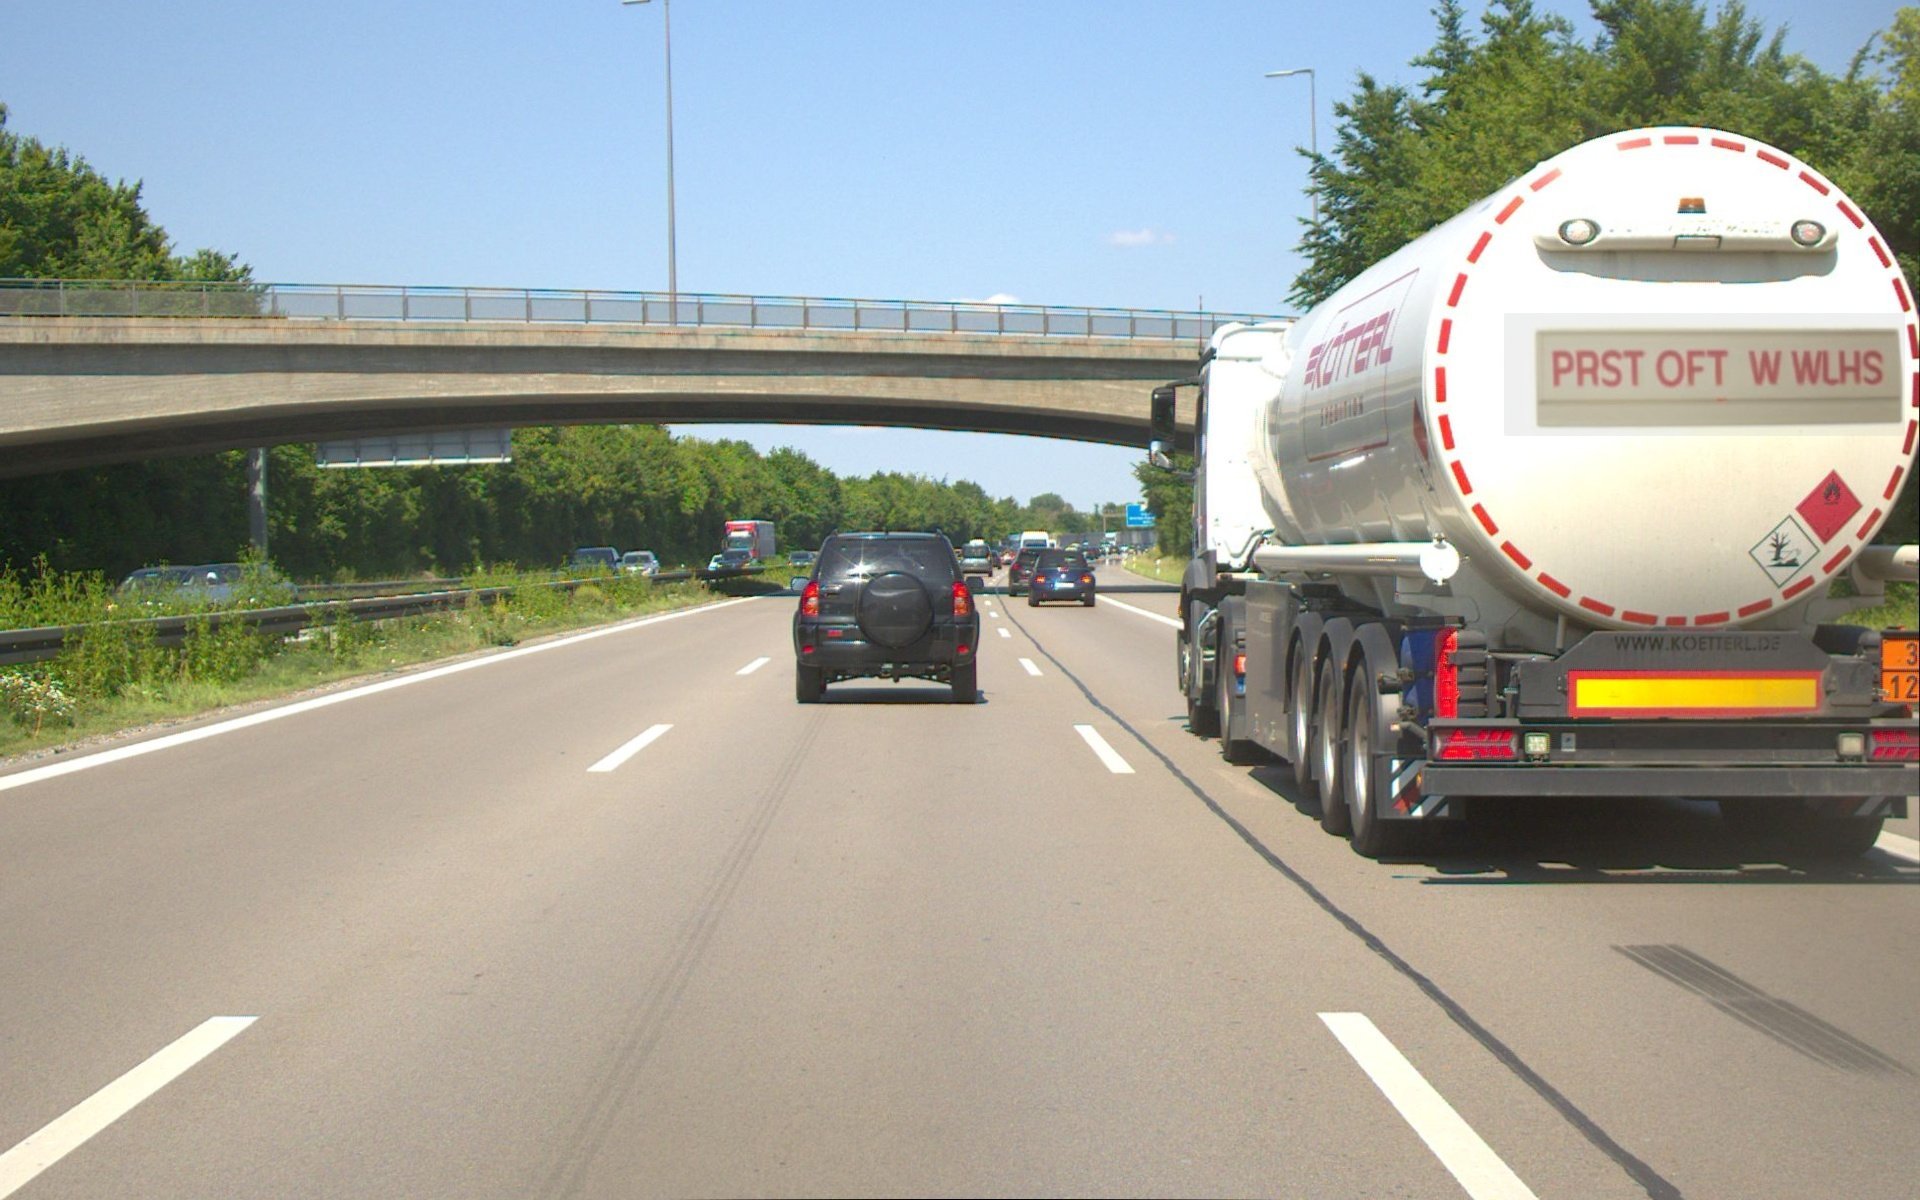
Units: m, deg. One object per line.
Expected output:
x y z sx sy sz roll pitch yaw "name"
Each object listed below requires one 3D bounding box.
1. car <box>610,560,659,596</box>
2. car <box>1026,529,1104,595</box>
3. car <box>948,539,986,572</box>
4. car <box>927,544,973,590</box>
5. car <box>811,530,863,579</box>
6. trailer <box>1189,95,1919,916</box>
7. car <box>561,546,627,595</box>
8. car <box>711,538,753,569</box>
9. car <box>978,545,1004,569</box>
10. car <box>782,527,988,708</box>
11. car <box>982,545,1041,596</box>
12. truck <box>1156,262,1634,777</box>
-15.257 -1.038 161.242 1.899 1.635 4.000 -1 0 0 "car"
2.790 -0.995 92.120 1.993 1.678 4.000 -1 0 1 "car"
0.354 -2.452 188.984 1.993 1.744 4.205 -1 1 -1 "car"
-0.435 -1.485 154.040 1.993 2.007 4.768 -1 1 0 "car"
-5.189 -1.916 145.892 1.993 2.007 4.950 -1 1 0 "car"
3.057 -0.467 19.766 2.648 3.378 11.152 0 1 0 "trailer"
-12.919 -1.067 121.524 1.797 1.661 4.128 -1 1 1 "car"
-11.861 -2.432 179.082 1.860 1.522 4.751 -1 1 0 "car"
2.301 -3.198 254.474 1.812 1.740 4.000 -1 1 -1 "car"
-0.759 0.140 34.028 1.906 1.659 4.000 -1 1 -2 "car"
1.638 -0.933 111.191 1.842 1.606 4.000 -1 0 0 "car"
3.041 -0.575 25.809 2.638 3.363 6.488 0 1 -1 "truck"
